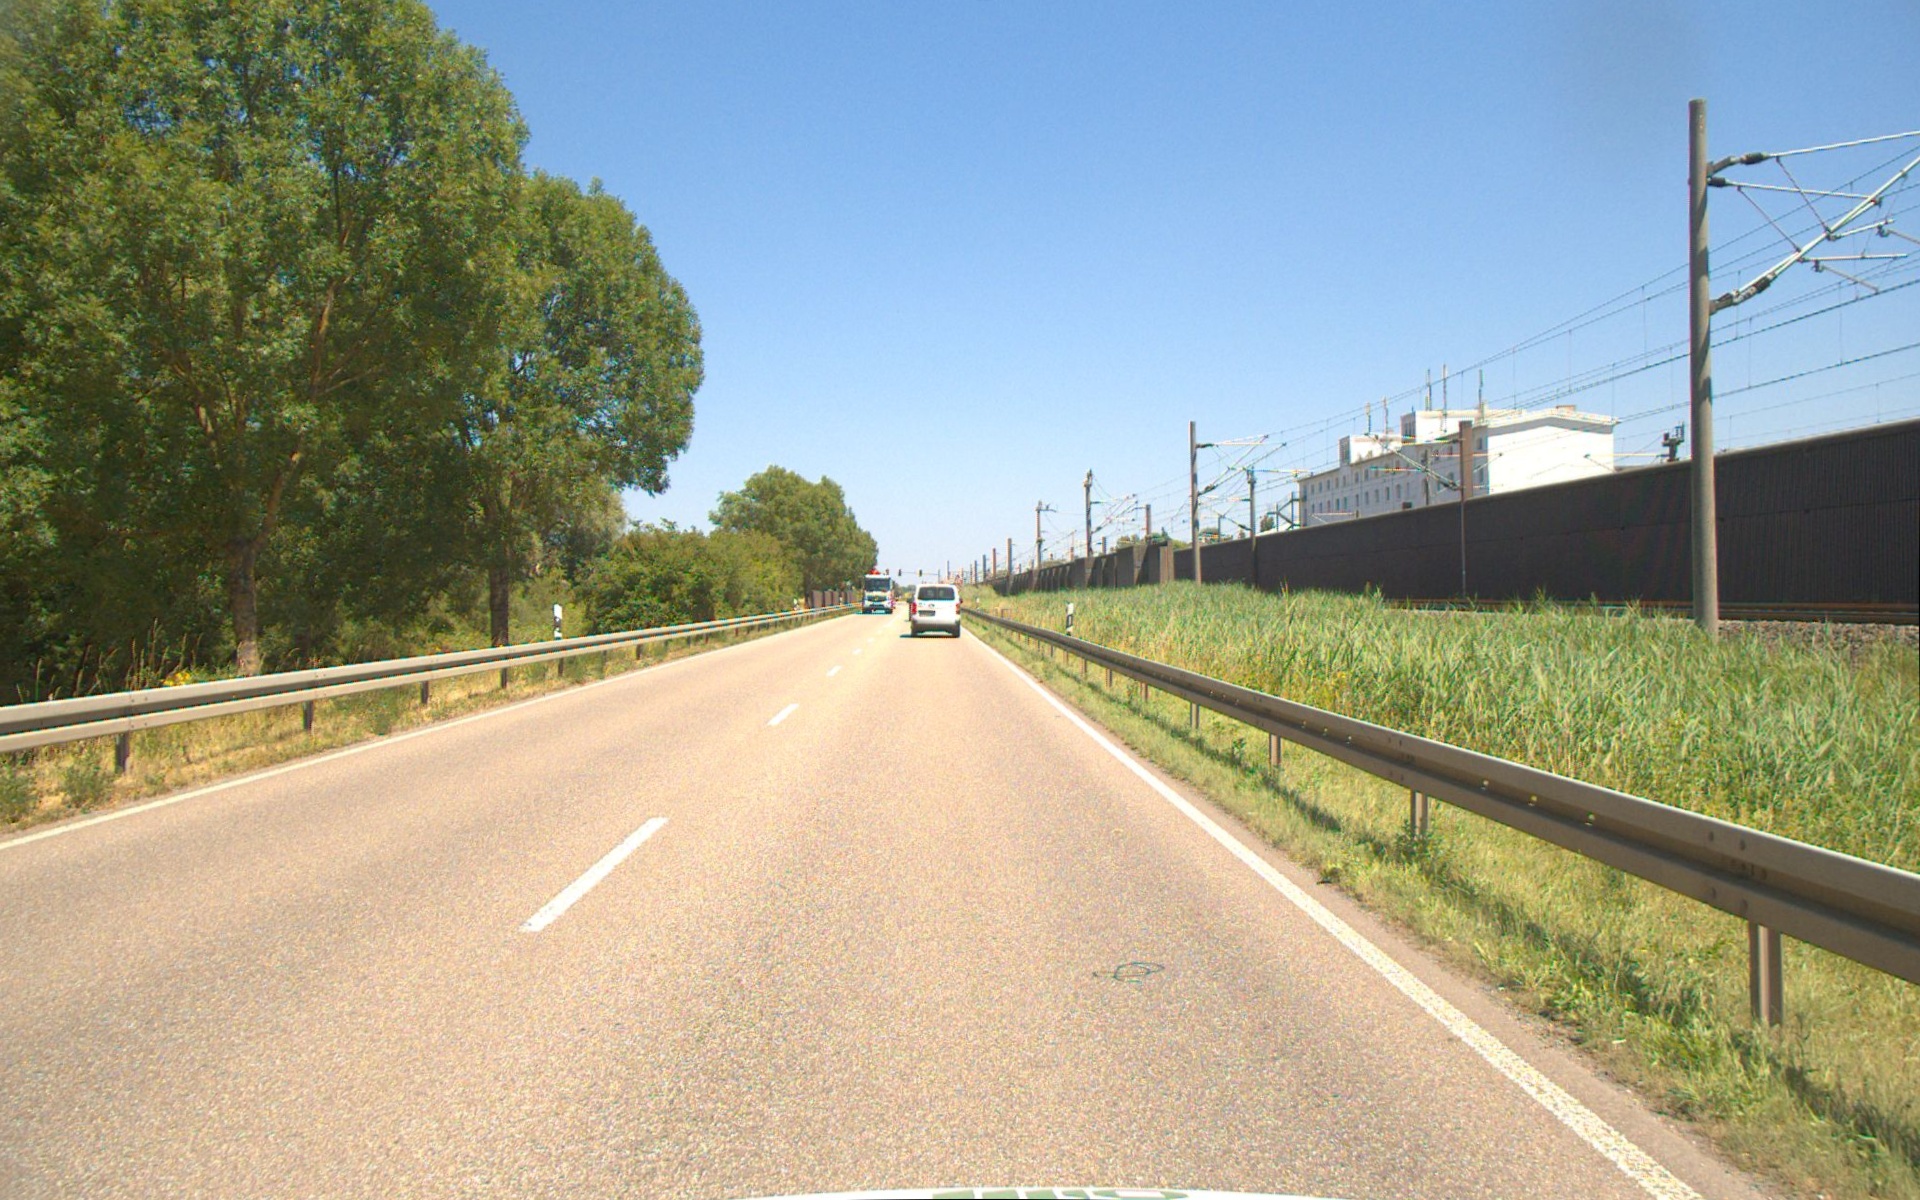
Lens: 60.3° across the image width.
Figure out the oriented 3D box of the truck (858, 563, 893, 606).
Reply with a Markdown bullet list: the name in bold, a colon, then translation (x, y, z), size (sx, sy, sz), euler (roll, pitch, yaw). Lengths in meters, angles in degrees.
- **truck**: translation (-7.058, -1.265, 138.584), size (2.727, 3.464, 7.986), euler (1, 0, -2)

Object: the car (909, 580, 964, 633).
- **car**: translation (-0.883, 0.226, 61.955), size (1.953, 1.882, 3.999), euler (1, 0, -1)

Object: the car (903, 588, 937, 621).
- **car**: translation (-2.400, 0.249, 99.216), size (1.953, 1.882, 3.999), euler (1, 0, -1)
